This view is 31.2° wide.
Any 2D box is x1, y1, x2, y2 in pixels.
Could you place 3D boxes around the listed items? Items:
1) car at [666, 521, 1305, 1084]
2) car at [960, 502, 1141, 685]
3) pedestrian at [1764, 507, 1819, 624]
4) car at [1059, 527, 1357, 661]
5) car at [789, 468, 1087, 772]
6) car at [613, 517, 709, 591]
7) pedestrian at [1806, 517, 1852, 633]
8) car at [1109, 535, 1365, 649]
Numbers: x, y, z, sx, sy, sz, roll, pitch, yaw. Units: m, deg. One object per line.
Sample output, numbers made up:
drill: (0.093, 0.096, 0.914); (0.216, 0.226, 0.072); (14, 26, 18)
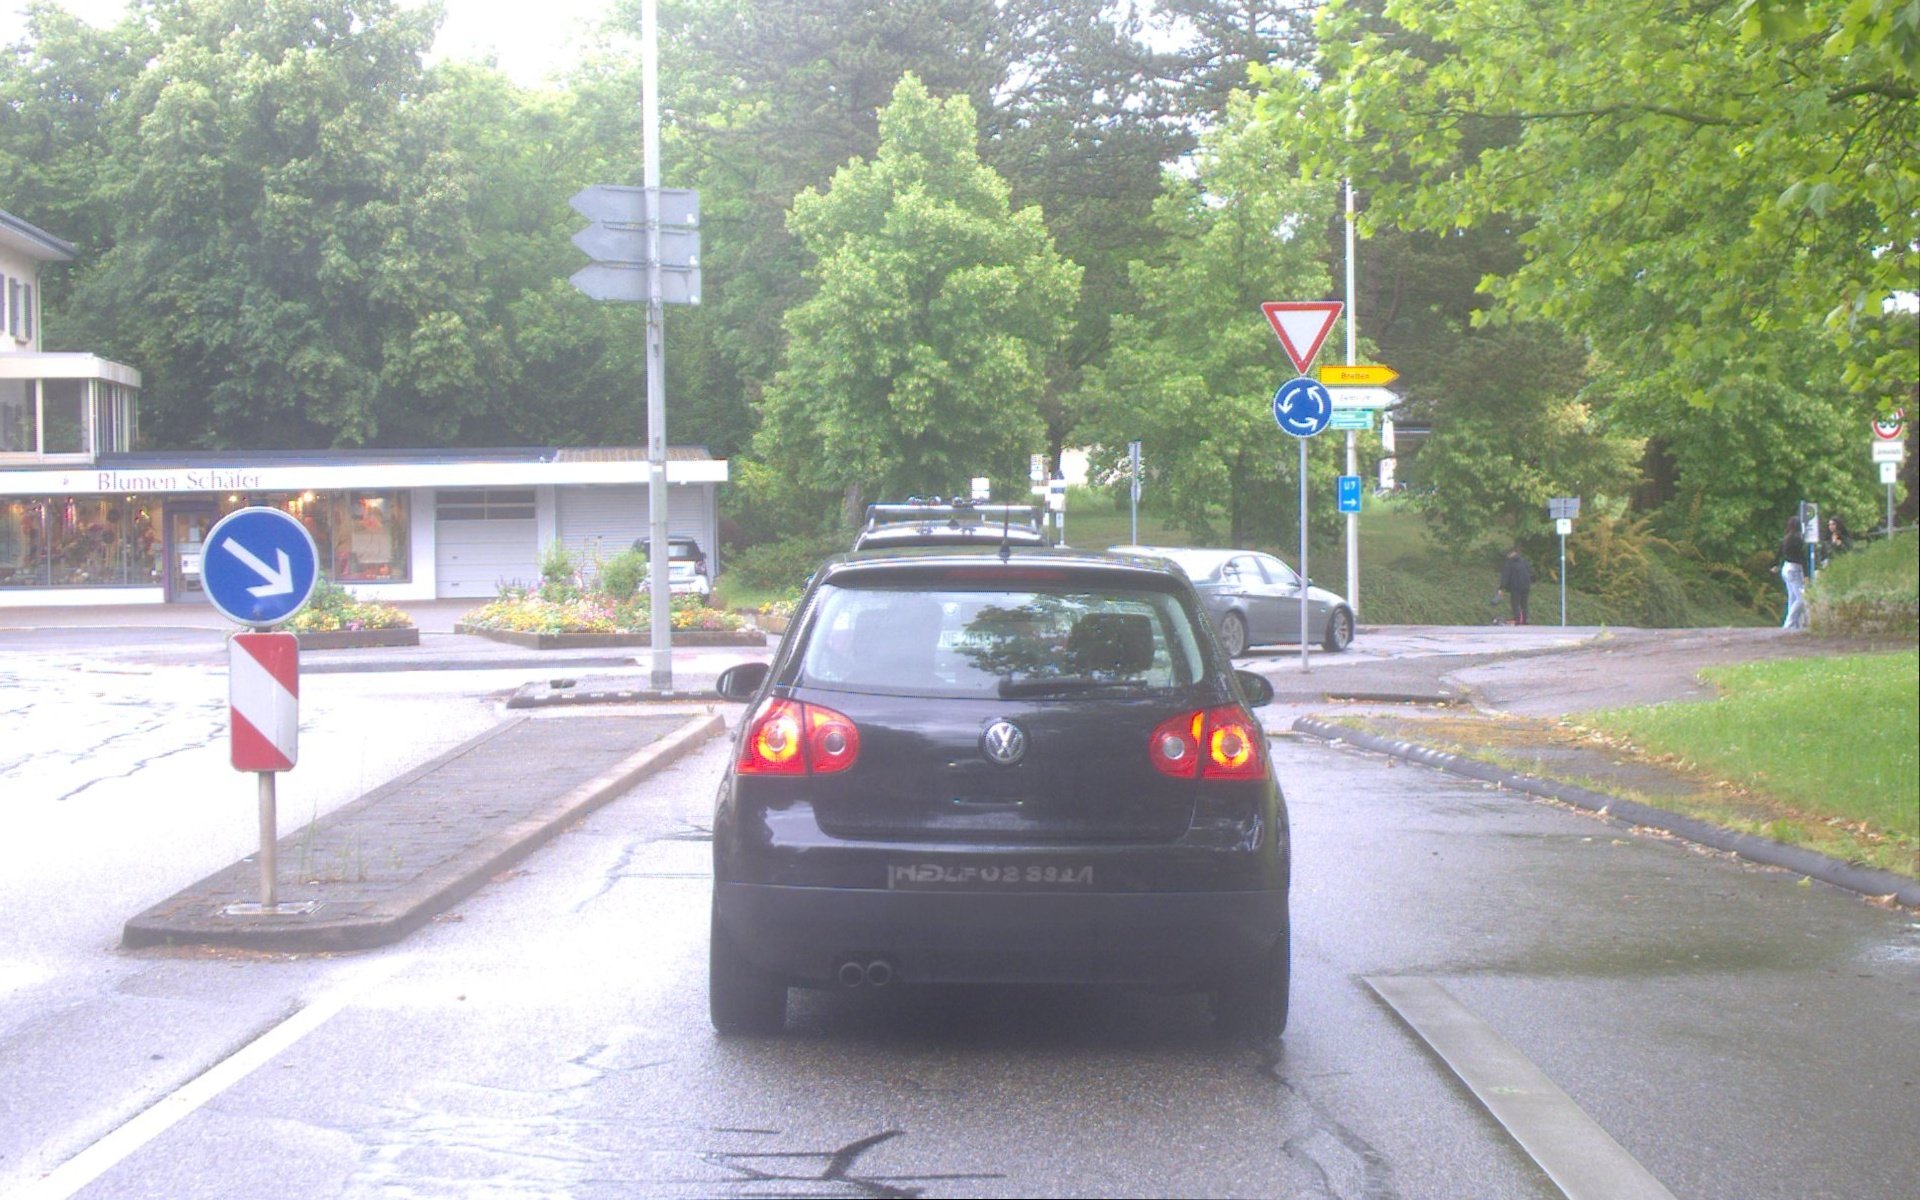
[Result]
car: (0.168, 0.514, 11.578); (1.765, 1.533, 4.000); (1, 1, 3)
car: (0.989, -0.090, 36.730); (1.765, 1.795, 4.246); (-2, 1, 2)
pedestrian: (12.250, -0.507, 50.649); (0.528, 1.707, 0.636); (1, 0, -15)
car: (3.322, -0.085, 45.462); (1.998, 1.678, 4.024); (1, 1, 38)
car: (-0.206, 0.104, 23.019); (1.764, 1.795, 4.246); (-2, 1, -2)
car: (-6.352, -0.987, 72.764); (1.812, 1.481, 3.832); (-2, 1, -8)
pedestrian: (12.924, -0.374, 51.134); (0.634, 1.707, 0.529); (1, 0, 16)
car: (4.356, -0.138, 54.653); (1.993, 1.735, 4.144); (1, 0, -31)
